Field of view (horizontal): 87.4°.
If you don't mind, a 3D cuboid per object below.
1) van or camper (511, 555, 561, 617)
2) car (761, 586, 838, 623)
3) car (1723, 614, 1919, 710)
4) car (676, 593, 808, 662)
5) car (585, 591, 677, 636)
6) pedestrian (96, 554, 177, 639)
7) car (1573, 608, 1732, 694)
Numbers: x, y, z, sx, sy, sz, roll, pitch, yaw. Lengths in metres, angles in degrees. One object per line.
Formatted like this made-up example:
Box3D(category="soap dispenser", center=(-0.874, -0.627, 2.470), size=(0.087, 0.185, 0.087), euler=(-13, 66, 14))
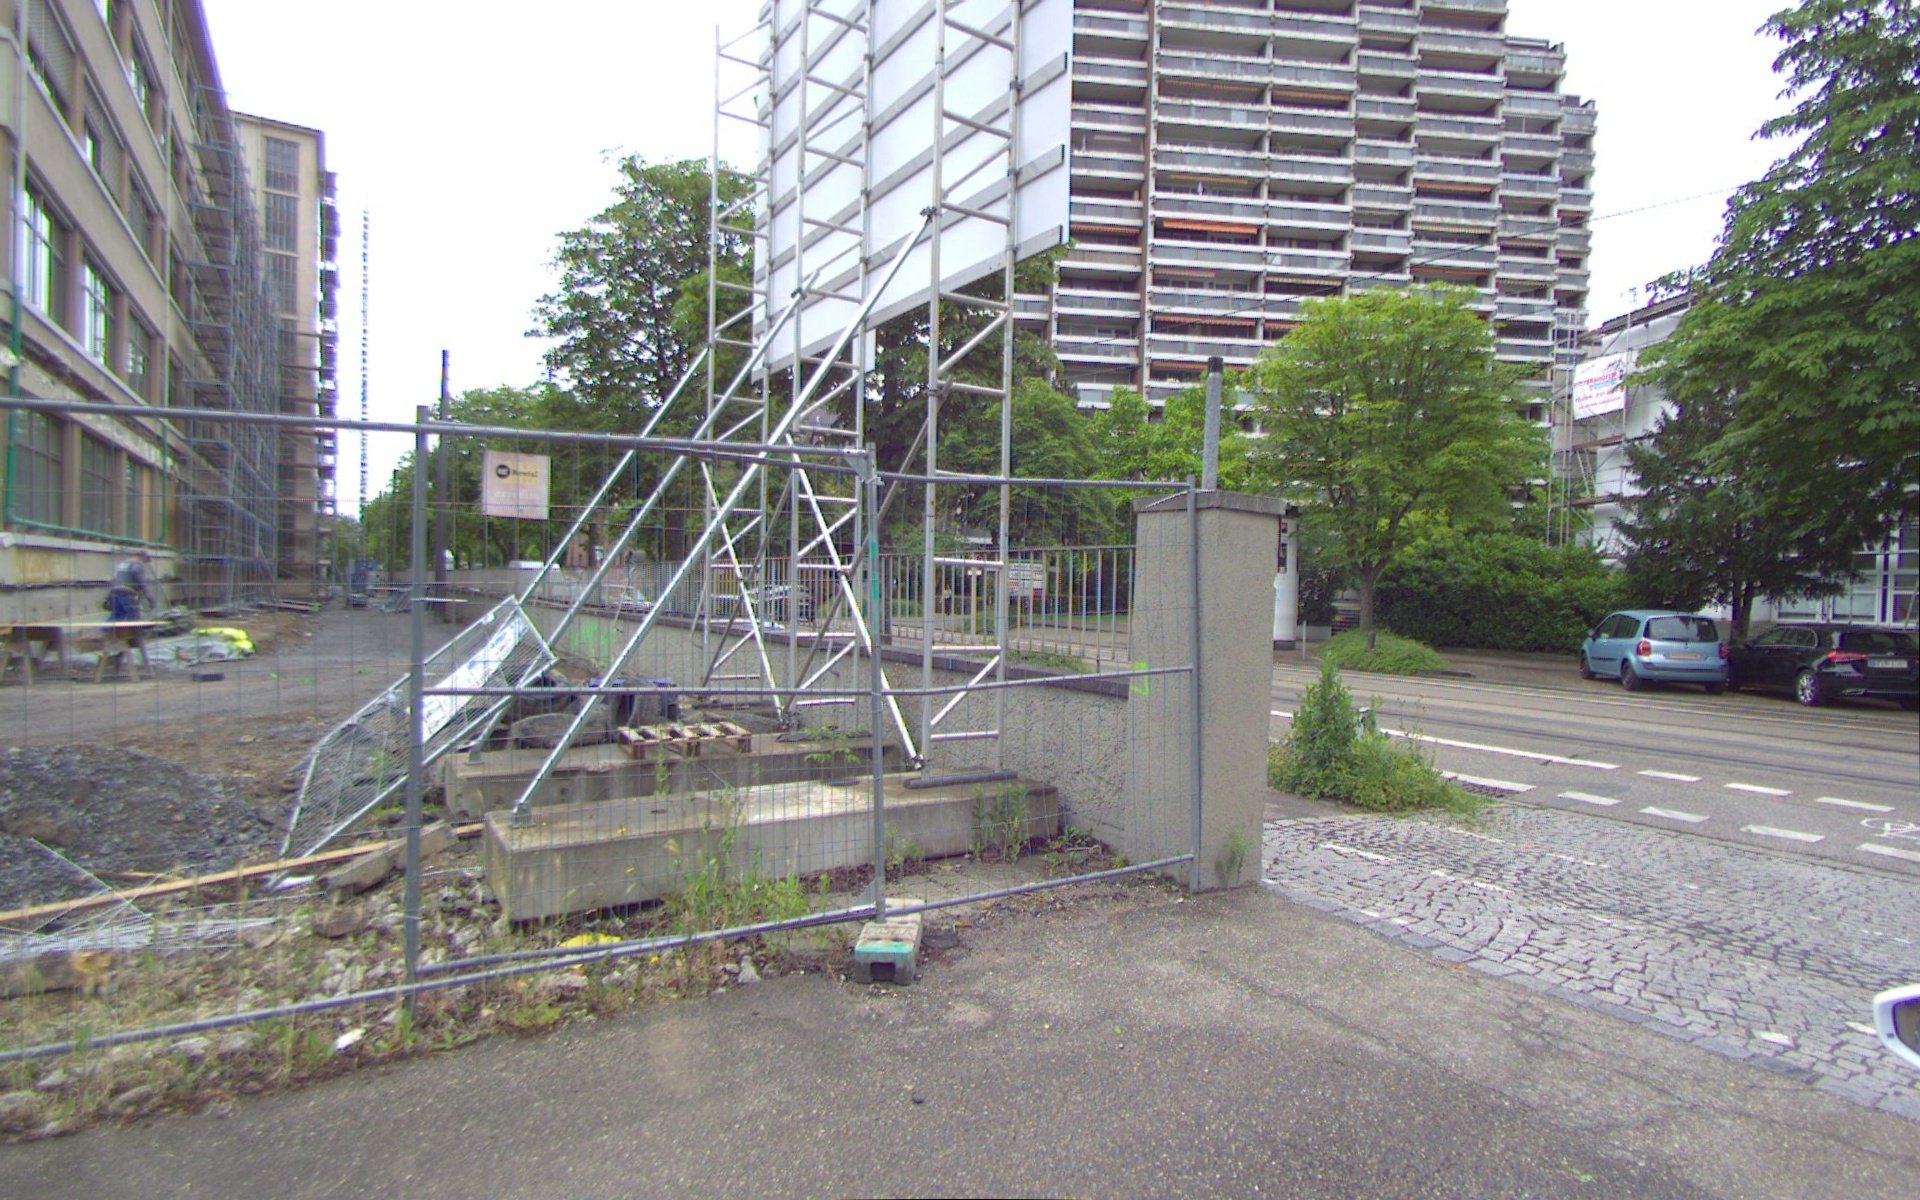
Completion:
Box3D(category="van or camper", center=(-20.347, -0.664, 48.158), size=(1.974, 2.789, 3.973), euler=(1, 0, -26))
Box3D(category="car", center=(-7.328, 0.184, 45.555), size=(1.805, 1.510, 4.215), euler=(1, 0, -34))
Box3D(category="car", center=(15.709, 1.054, 18.351), size=(1.586, 1.531, 3.339), euler=(2, 0, 14))
Box3D(category="car", center=(-5.245, 0.603, 23.798), size=(1.813, 1.437, 3.965), euler=(1, 0, -32))
Box3D(category="car", center=(-10.848, 0.416, 32.960), size=(1.978, 1.328, 3.965), euler=(1, 1, -32))
Box3D(category="pedestrian", center=(-14.595, -0.054, 17.837), size=(0.972, 1.457, 0.922), euler=(2, 0, -33))
Box3D(category="car", center=(14.245, 0.987, 20.868), size=(1.586, 1.557, 3.339), euler=(2, 0, 14))
